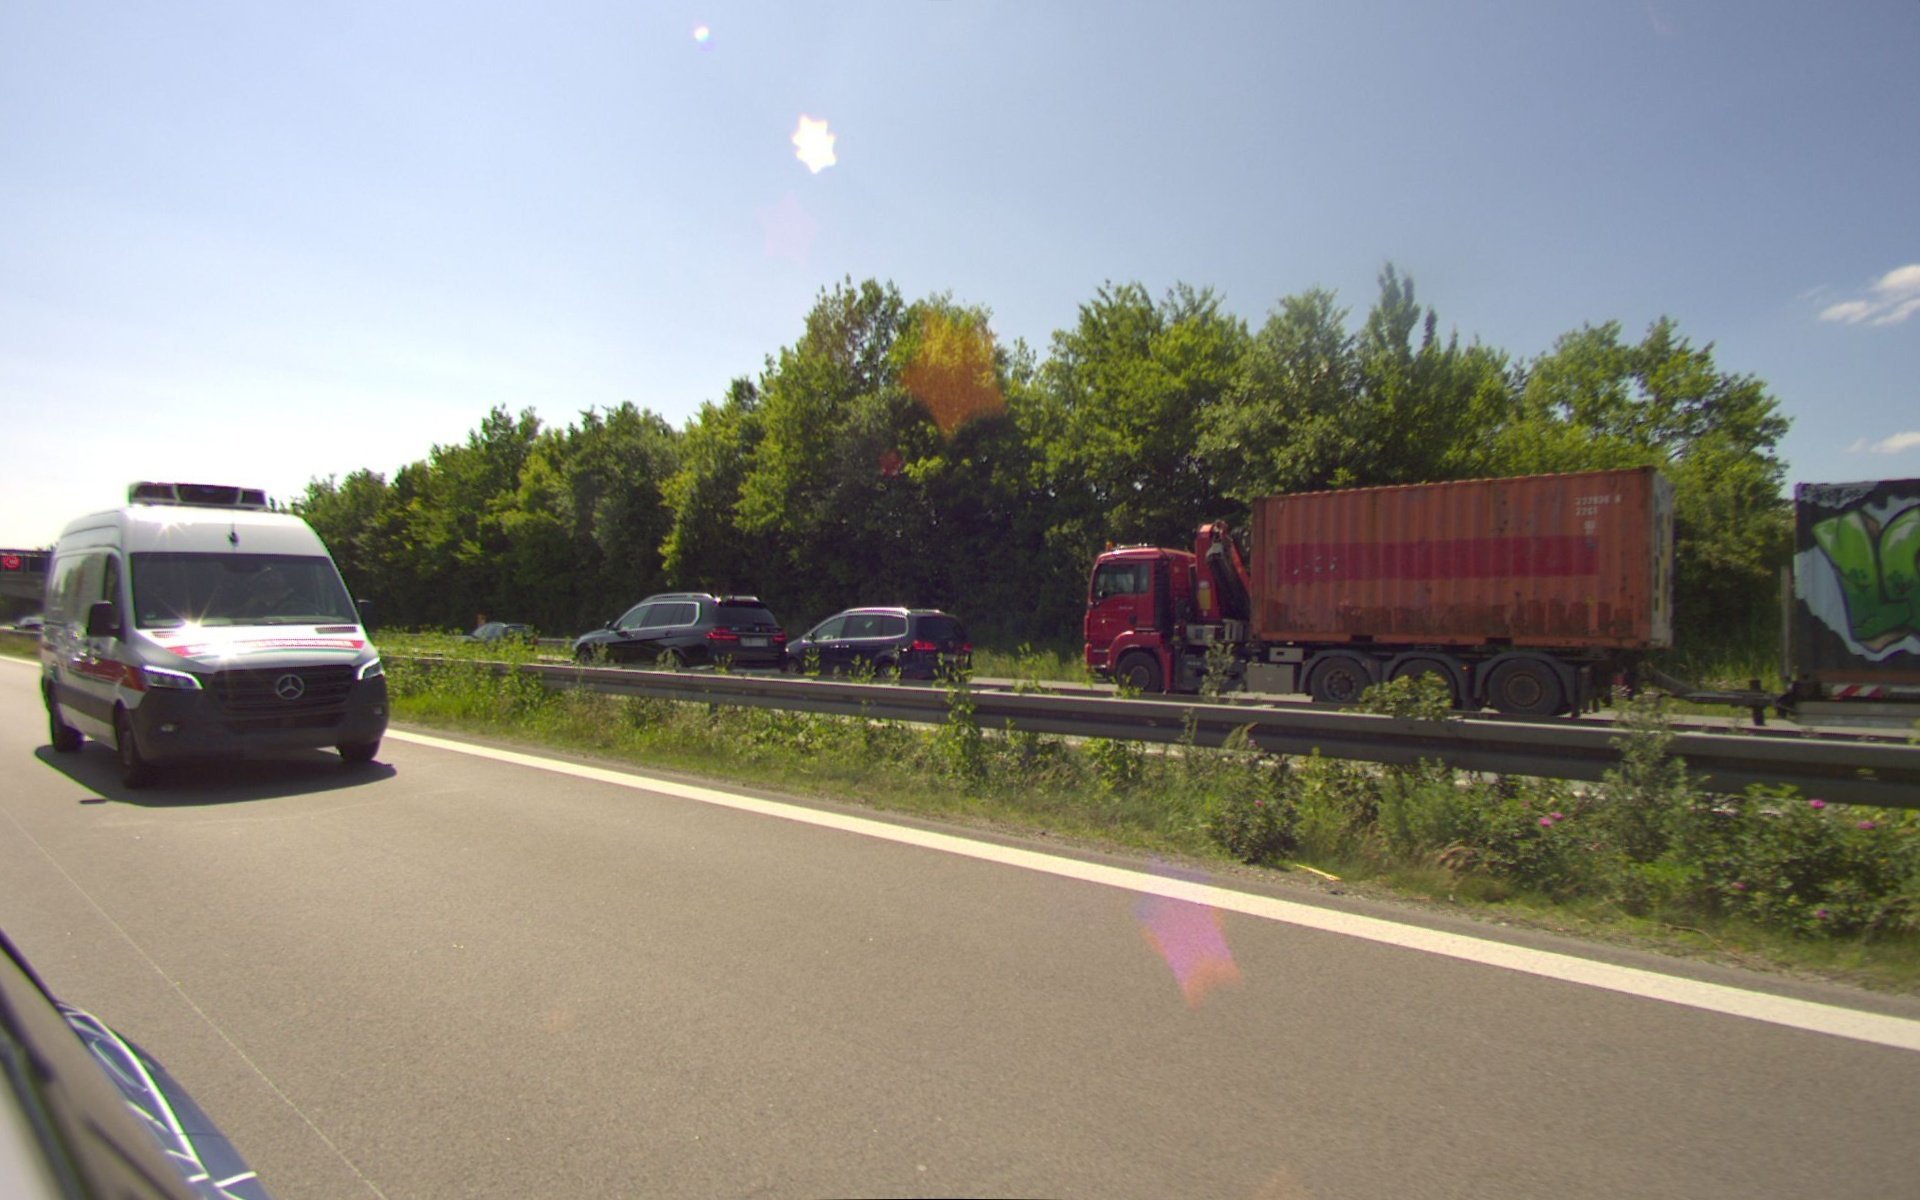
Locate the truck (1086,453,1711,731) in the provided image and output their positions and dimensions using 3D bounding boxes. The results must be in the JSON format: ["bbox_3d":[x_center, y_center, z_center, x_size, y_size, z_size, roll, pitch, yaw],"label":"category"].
[{"bbox_3d":[7.135,0.009,18.095,9.914,3.798,2.651,-1,-3,41],"label":"truck"}]

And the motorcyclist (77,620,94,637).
[{"bbox_3d":[-77.134,2.484,89.272,1.355,1.455,0.931,-1,-2,39],"label":"motorcyclist"}]

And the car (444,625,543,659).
[{"bbox_3d":[-19.024,1.684,41.162,5.059,1.307,1.729,-1,-2,41],"label":"car"}]

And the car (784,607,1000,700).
[{"bbox_3d":[-1.465,1.037,20.799,4.261,1.703,1.973,-1,-2,40],"label":"car"}]

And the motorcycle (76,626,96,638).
[{"bbox_3d":[-77.099,2.847,89.237,2.653,1.025,0.925,-1,-2,40],"label":"motorcycle"}]

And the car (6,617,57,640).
[{"bbox_3d":[-62.641,1.887,68.234,4.827,1.486,1.973,-1,-2,41],"label":"car"}]

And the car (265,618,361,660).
[{"bbox_3d":[-21.811,1.295,34.055,4.119,1.327,1.650,-1,-2,41],"label":"car"}]

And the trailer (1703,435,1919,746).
[{"bbox_3d":[14.128,-0.106,11.967,8.402,3.798,2.651,-1,-3,41],"label":"trailer"}]

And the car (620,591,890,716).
[{"bbox_3d":[-3.658,0.854,17.561,4.894,1.880,1.973,-1,-2,40],"label":"car"}]

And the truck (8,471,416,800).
[{"bbox_3d":[-8.270,0.315,10.807,6.686,2.561,1.973,-1,0,40],"label":"truck"}]
